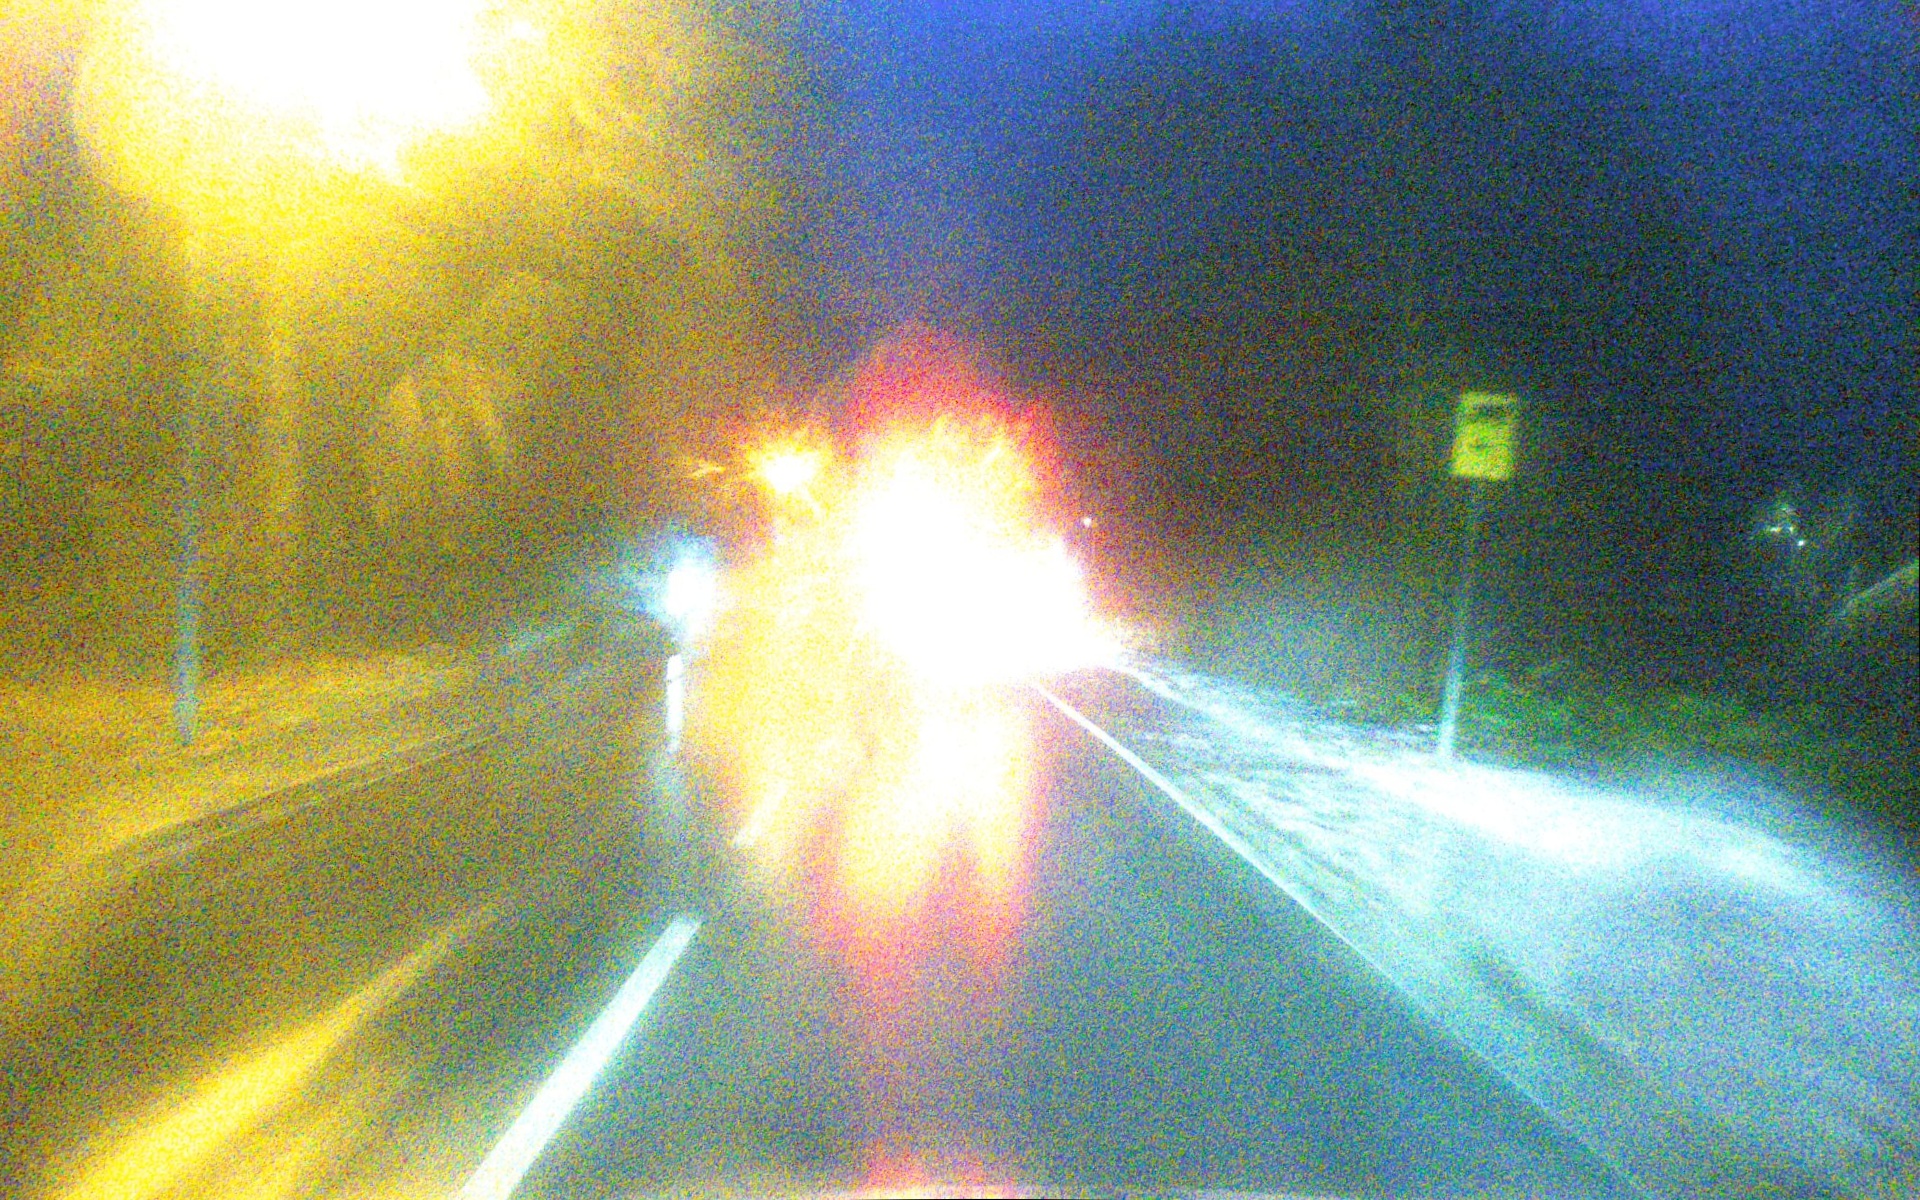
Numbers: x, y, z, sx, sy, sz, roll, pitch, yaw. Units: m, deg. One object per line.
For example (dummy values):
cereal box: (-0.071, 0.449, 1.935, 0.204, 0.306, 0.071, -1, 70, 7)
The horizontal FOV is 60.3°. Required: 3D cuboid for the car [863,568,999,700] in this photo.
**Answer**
car: (-0.383, 0.407, 23.565, 1.754, 1.710, 3.904, 0, 1, 0)
